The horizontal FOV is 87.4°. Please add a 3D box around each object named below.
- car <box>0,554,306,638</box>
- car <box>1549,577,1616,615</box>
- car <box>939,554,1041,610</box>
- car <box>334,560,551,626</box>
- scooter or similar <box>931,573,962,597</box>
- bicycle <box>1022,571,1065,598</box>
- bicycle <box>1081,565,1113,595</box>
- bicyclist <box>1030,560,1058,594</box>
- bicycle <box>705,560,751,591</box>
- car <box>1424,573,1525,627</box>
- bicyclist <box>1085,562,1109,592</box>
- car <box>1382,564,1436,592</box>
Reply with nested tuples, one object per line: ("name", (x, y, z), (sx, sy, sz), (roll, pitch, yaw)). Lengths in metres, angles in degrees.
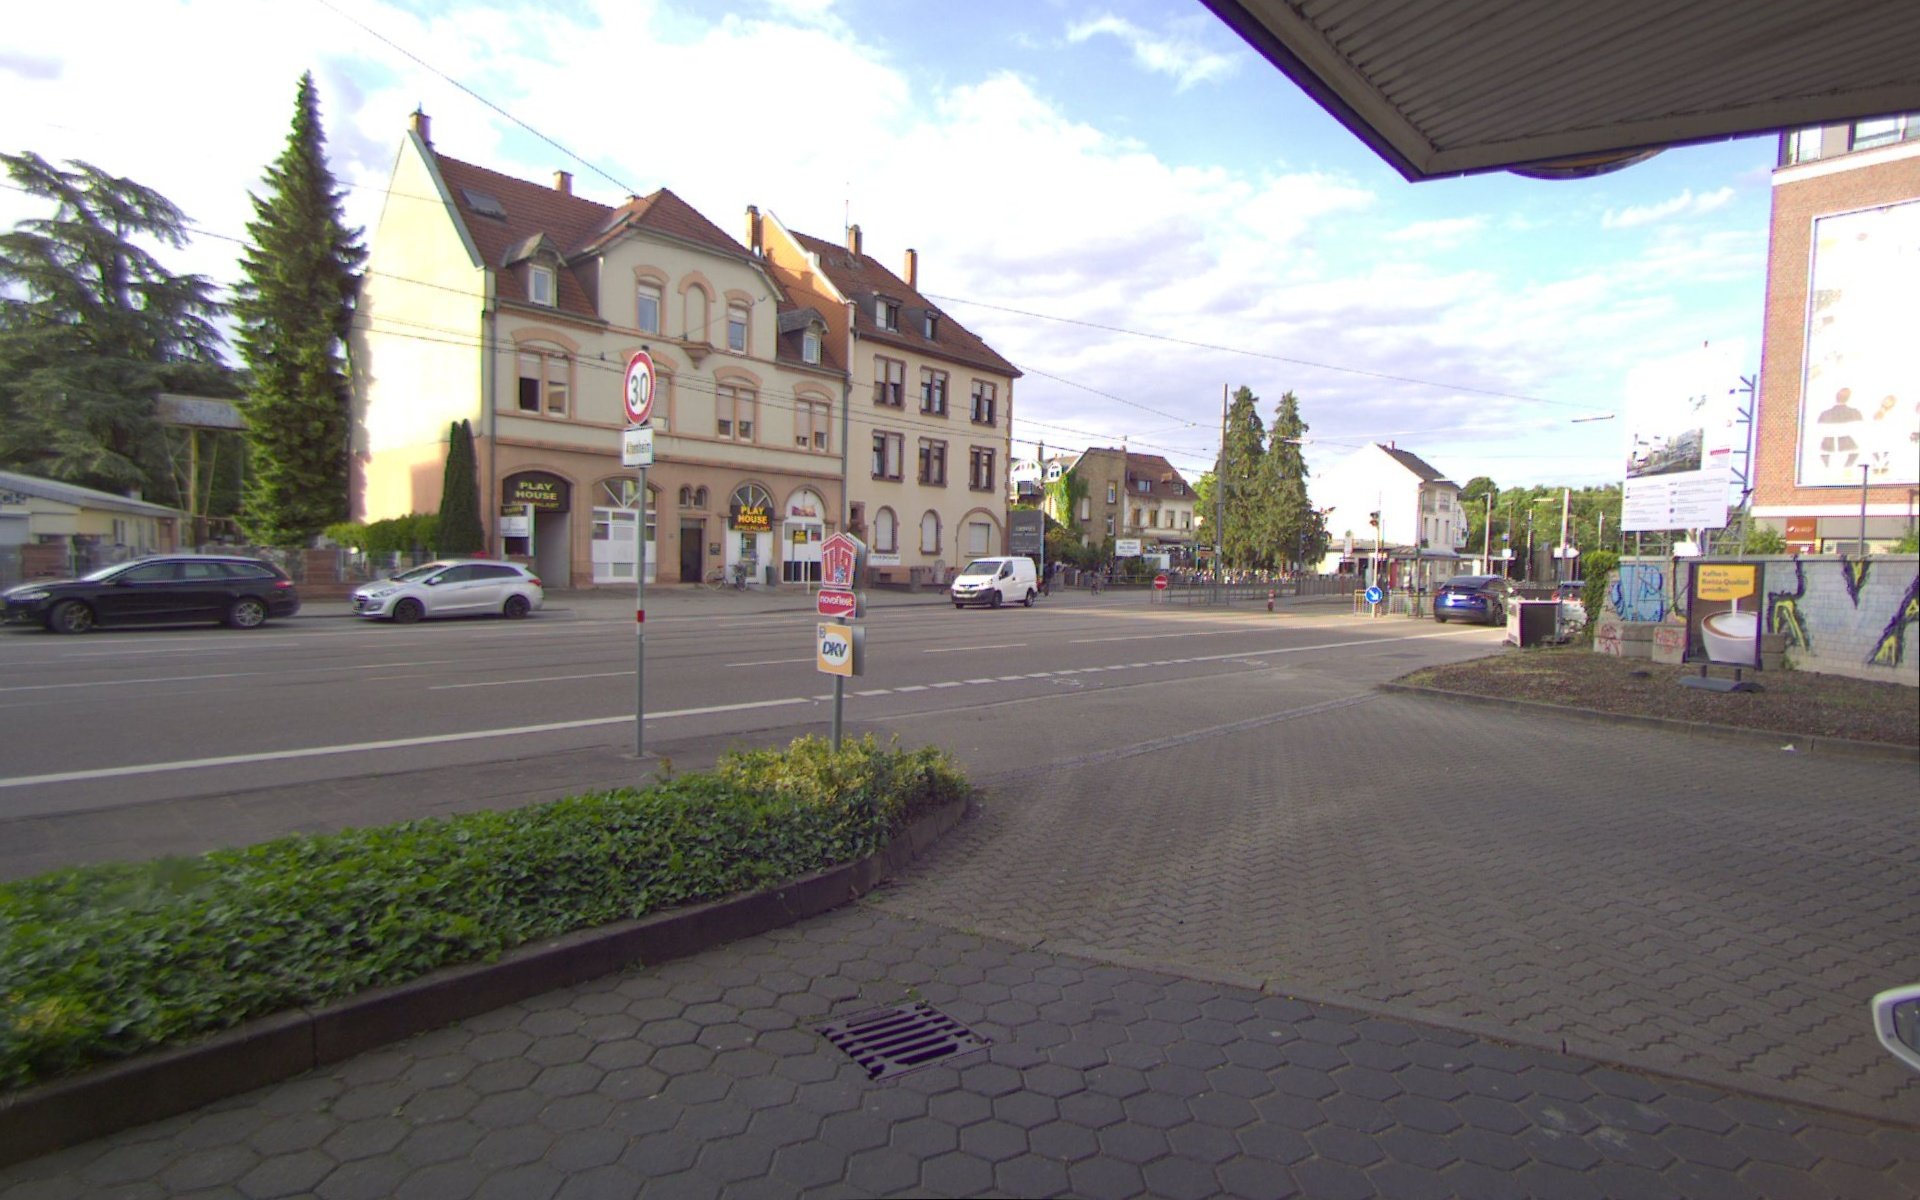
("car", (-16.571, -0.148, 20.735), (1.970, 1.516, 4.801), (3, 3, 40))
("car", (28.254, -0.186, 45.539), (1.745, 1.564, 4.106), (5, 4, 43))
("car", (1.172, -0.668, 37.182), (1.933, 1.915, 4.403), (3, 2, 29))
("car", (-13.003, -0.247, 25.468), (1.970, 1.495, 4.467), (3, 3, 40))
("scooter or similar", (-0.601, -0.695, 45.140), (0.488, 1.015, 1.592), (5, 5, 39))
("bicycle", (4.045, -0.743, 48.585), (1.883, 1.219, 0.839), (1, 6, -31))
("bicycle", (7.160, -1.052, 52.471), (0.775, 1.512, 1.986), (6, 4, 32))
("bicyclist", (4.052, -1.113, 48.563), (0.953, 1.579, 0.839), (1, 6, -31))
("bicycle", (-9.146, -0.959, 39.713), (0.508, 1.189, 1.809), (4, 2, 40))
("car", (18.010, -0.033, 35.078), (1.745, 1.679, 4.821), (5, 4, 44))
("bicyclist", (7.182, -1.193, 52.459), (0.775, 1.512, 1.093), (6, 4, 32))
("car", (32.996, -1.608, 73.767), (4.856, 1.995, 1.973), (-1, 3, -45))
